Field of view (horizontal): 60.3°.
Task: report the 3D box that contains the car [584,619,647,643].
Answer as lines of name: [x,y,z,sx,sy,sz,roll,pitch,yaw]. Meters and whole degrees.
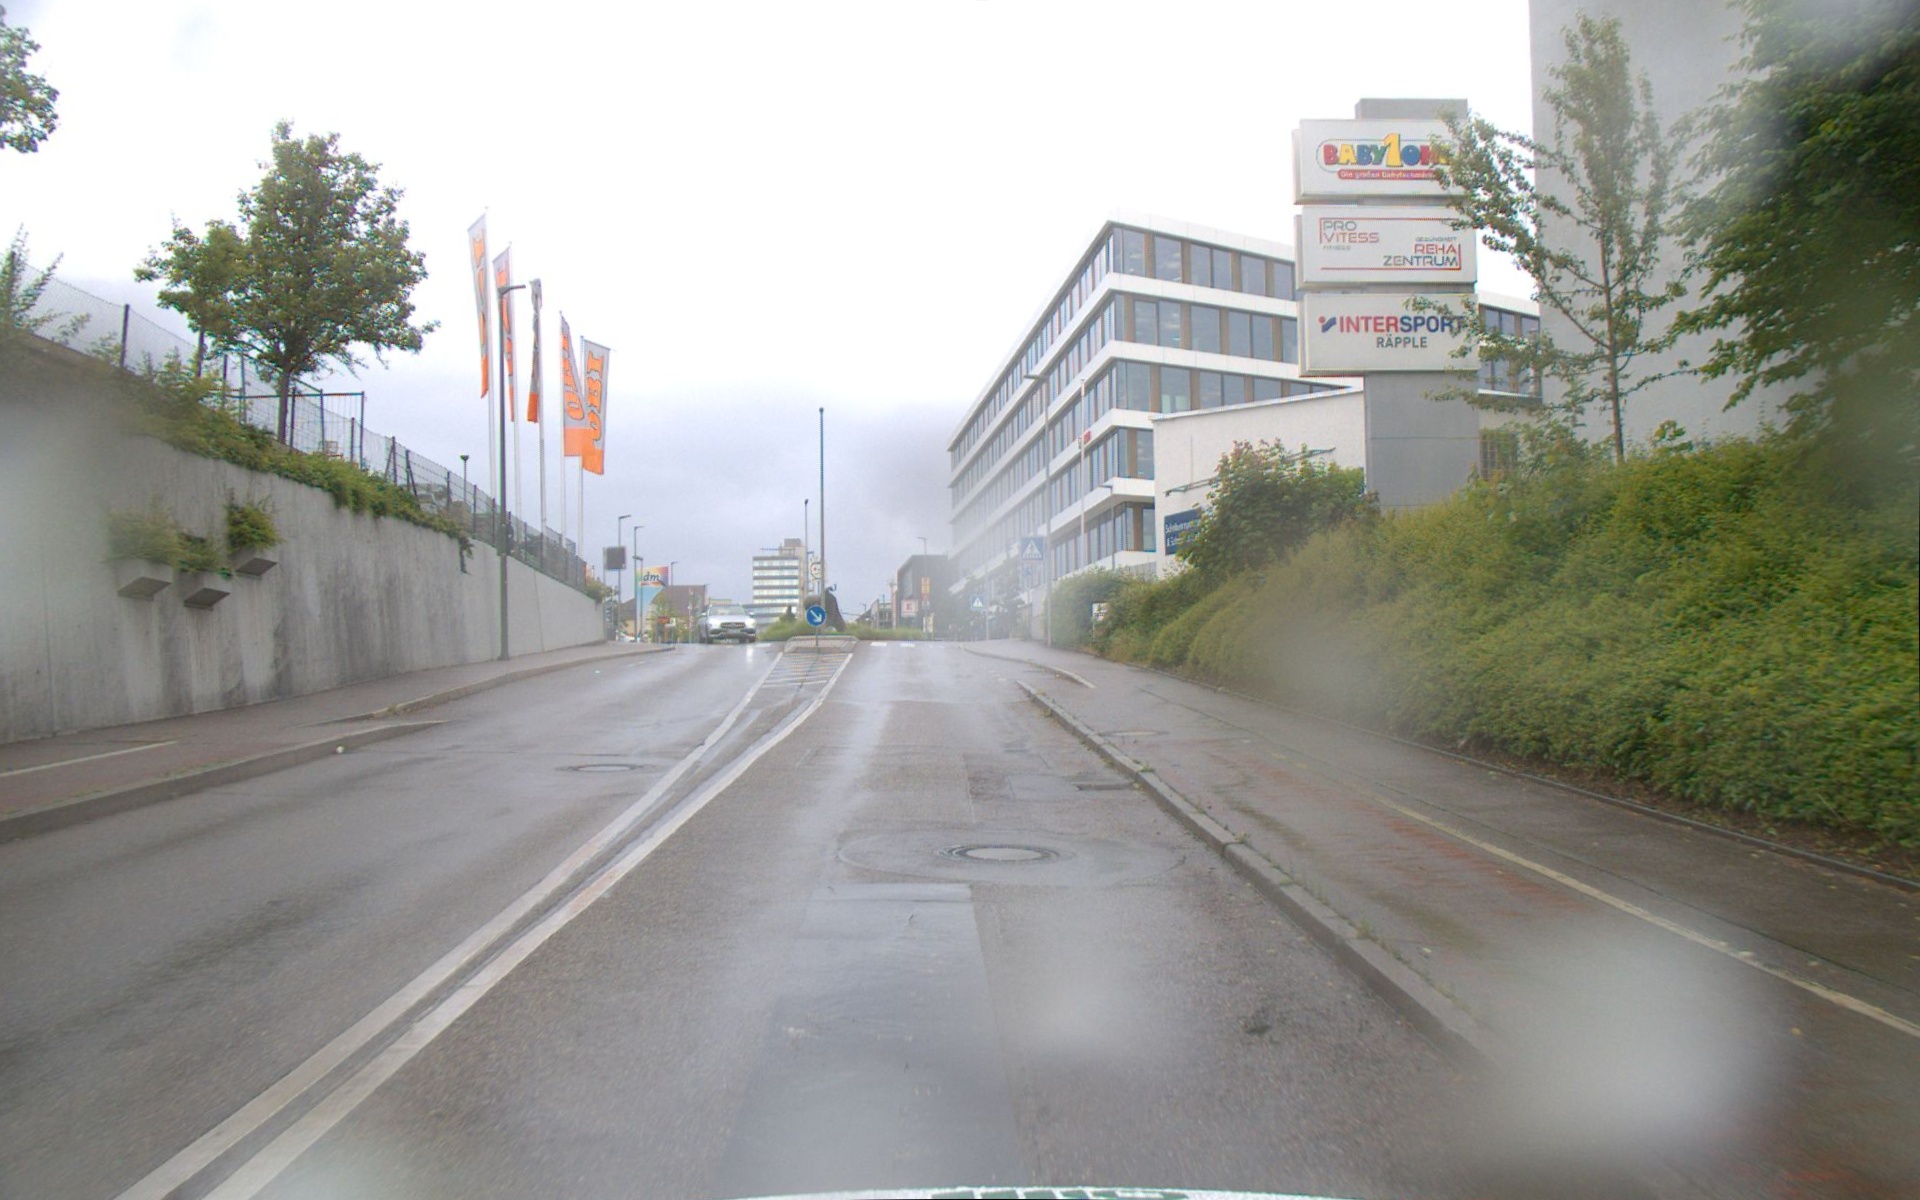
car: [-24.455,2.192,117.529,3.987,1.445,1.747,4,-5,-35]

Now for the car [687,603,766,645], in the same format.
car: [-8.788,0.873,61.863,1.972,1.451,4.753,2,0,-20]
